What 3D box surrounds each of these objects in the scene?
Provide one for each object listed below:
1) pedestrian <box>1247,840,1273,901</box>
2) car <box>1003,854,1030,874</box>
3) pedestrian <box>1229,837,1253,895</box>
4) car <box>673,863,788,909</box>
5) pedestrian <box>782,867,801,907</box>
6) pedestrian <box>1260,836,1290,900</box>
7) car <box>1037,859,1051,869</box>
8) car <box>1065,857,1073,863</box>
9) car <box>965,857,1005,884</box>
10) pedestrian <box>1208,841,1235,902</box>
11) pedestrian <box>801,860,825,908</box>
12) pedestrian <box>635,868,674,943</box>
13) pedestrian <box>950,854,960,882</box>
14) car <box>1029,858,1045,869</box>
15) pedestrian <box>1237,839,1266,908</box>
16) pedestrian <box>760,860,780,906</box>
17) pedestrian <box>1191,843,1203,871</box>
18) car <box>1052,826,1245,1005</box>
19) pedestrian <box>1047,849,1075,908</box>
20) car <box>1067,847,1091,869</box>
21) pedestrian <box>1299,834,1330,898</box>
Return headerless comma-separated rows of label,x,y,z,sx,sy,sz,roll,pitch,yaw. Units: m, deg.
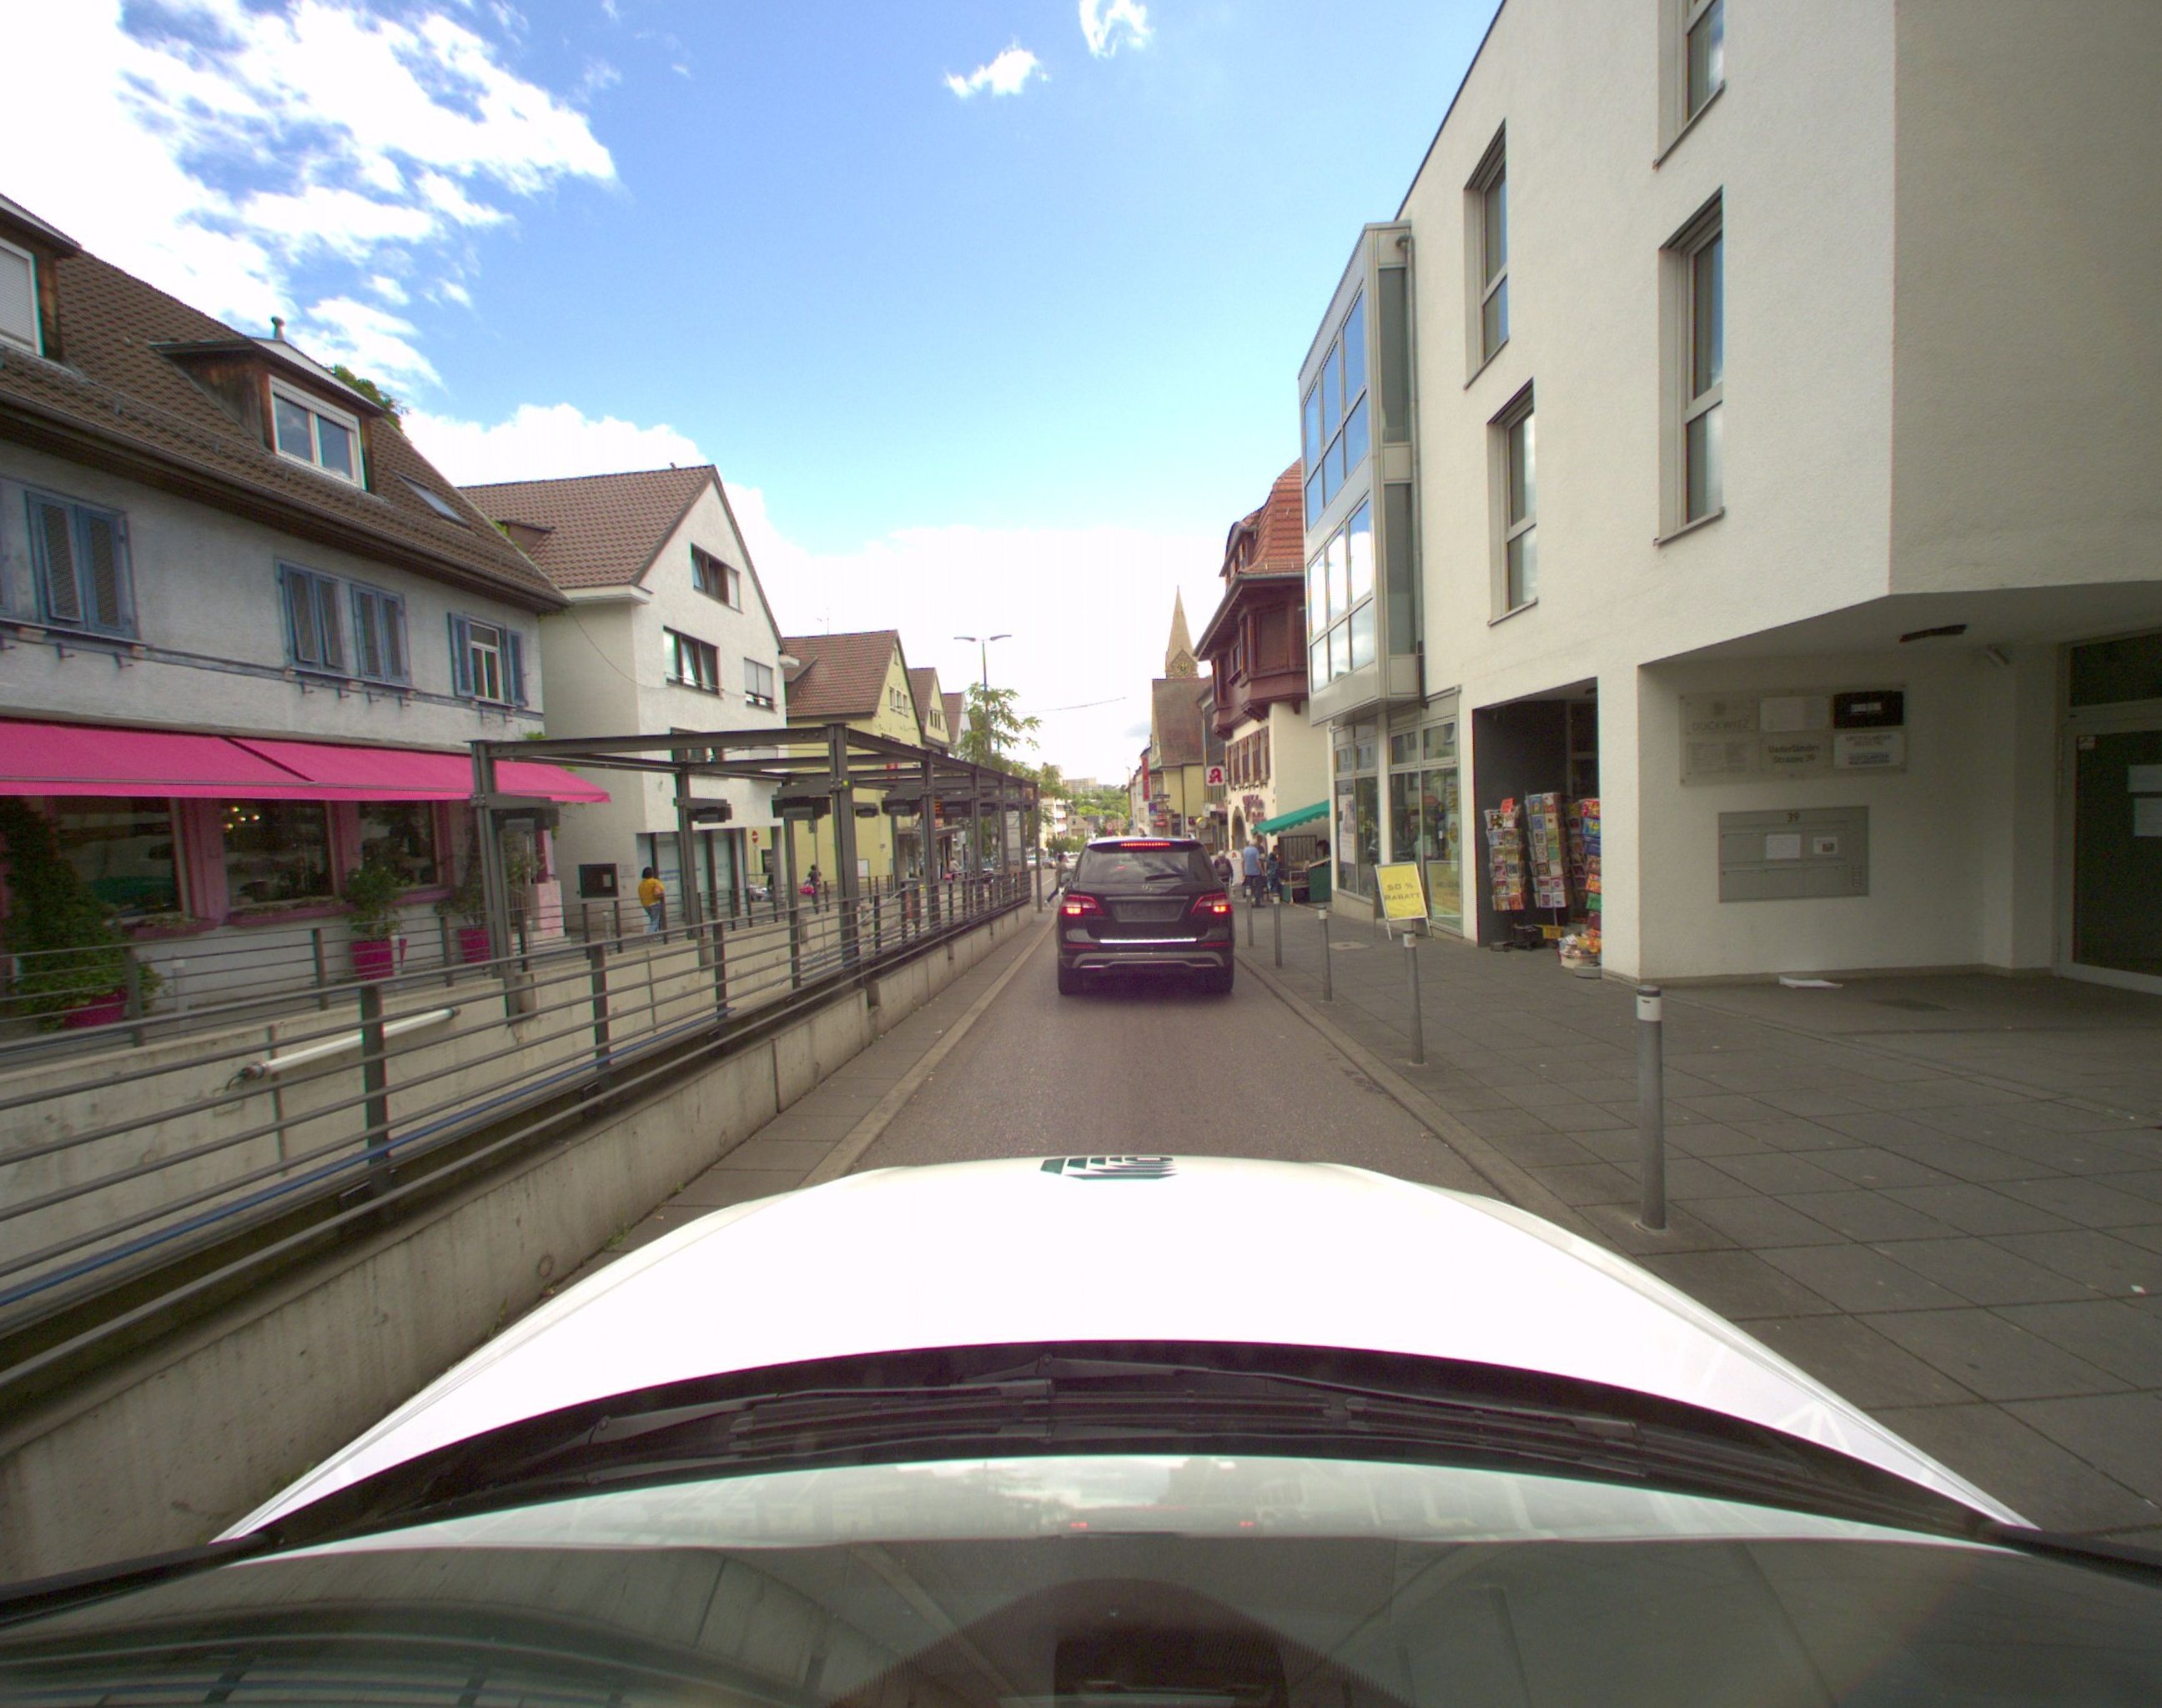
pedestrian,5.076,0.461,23.087,0.572,1.689,0.565,0,0,-4
car,-5.123,0.777,64.921,1.654,1.490,3.750,0,0,2
pedestrian,5.062,0.370,25.809,0.637,1.809,0.685,0,0,1
car,-14.752,1.301,34.369,4.149,1.731,1.842,1,0,15
pedestrian,-10.414,1.188,29.337,0.454,1.421,0.534,0,0,4
pedestrian,5.256,0.372,22.068,0.572,1.689,0.565,-3,0,-4
car,-4.474,1.194,99.005,1.383,1.070,3.115,-3,0,2
car,-2.441,1.229,161.276,1.383,1.070,3.115,-3,0,2
car,-5.565,0.936,47.610,1.683,1.490,3.981,0,0,2
pedestrian,3.958,0.480,22.995,0.620,1.689,0.565,0,0,-4
pedestrian,-9.646,1.074,29.303,0.623,1.689,0.679,0,0,1
pedestrian,-9.801,1.163,18.710,0.576,1.689,0.577,0,0,1
pedestrian,-7.615,0.859,49.148,0.511,1.689,0.542,0,0,1
car,-4.757,0.973,87.580,1.383,1.070,3.115,-3,0,2
pedestrian,4.367,0.501,20.895,0.541,1.726,0.527,-3,0,-4
pedestrian,-11.494,1.068,30.128,0.612,1.689,0.561,0,0,-13
pedestrian,7.185,0.195,50.396,0.604,1.688,0.725,-3,0,1
car,0.683,0.603,10.029,1.894,1.747,4.000,0,0,0
pedestrian,-0.583,0.711,23.977,0.762,1.689,0.728,0,0,3
car,-0.166,0.279,65.253,1.764,1.713,4.002,0,0,2
pedestrian,6.354,0.323,22.180,0.572,1.689,0.565,-3,0,-4
